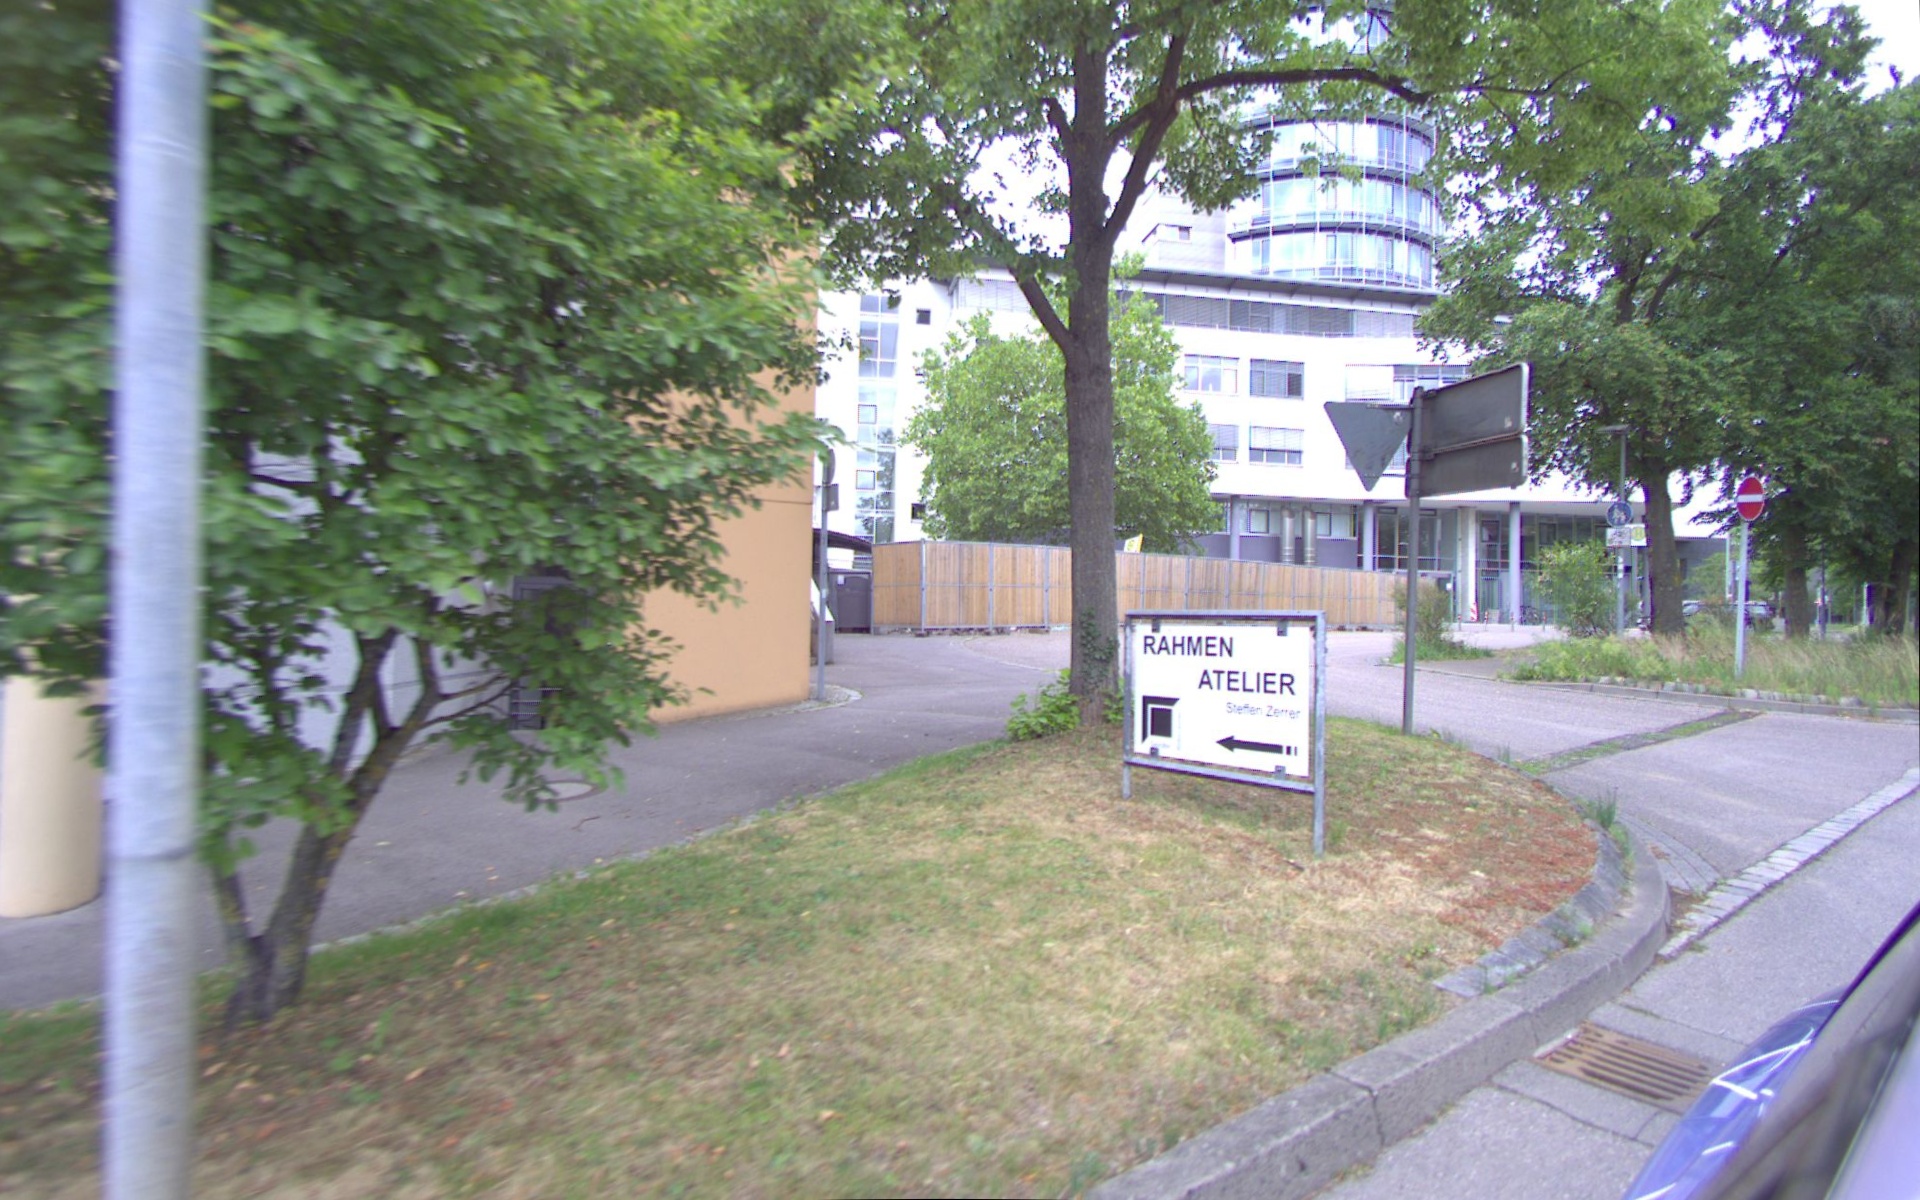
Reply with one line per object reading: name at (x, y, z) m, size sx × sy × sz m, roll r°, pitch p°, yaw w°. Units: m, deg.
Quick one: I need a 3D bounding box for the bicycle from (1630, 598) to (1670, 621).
bicycle at (37.019, 0.514, 54.322) m, size 1.728 × 1.162 × 0.485 m, roll -1°, pitch -1°, yaw 36°

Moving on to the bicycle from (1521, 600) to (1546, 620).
bicycle at (31.725, 0.537, 55.969) m, size 0.384 × 1.086 × 1.403 m, roll 0°, pitch -1°, yaw -10°

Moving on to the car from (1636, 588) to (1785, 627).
car at (31.446, 0.293, 42.527) m, size 4.661 × 1.535 × 1.868 m, roll 1°, pitch 1°, yaw 7°

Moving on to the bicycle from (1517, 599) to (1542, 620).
bicycle at (31.315, 0.526, 55.634) m, size 0.384 × 1.086 × 1.403 m, roll 0°, pitch -1°, yaw -10°
